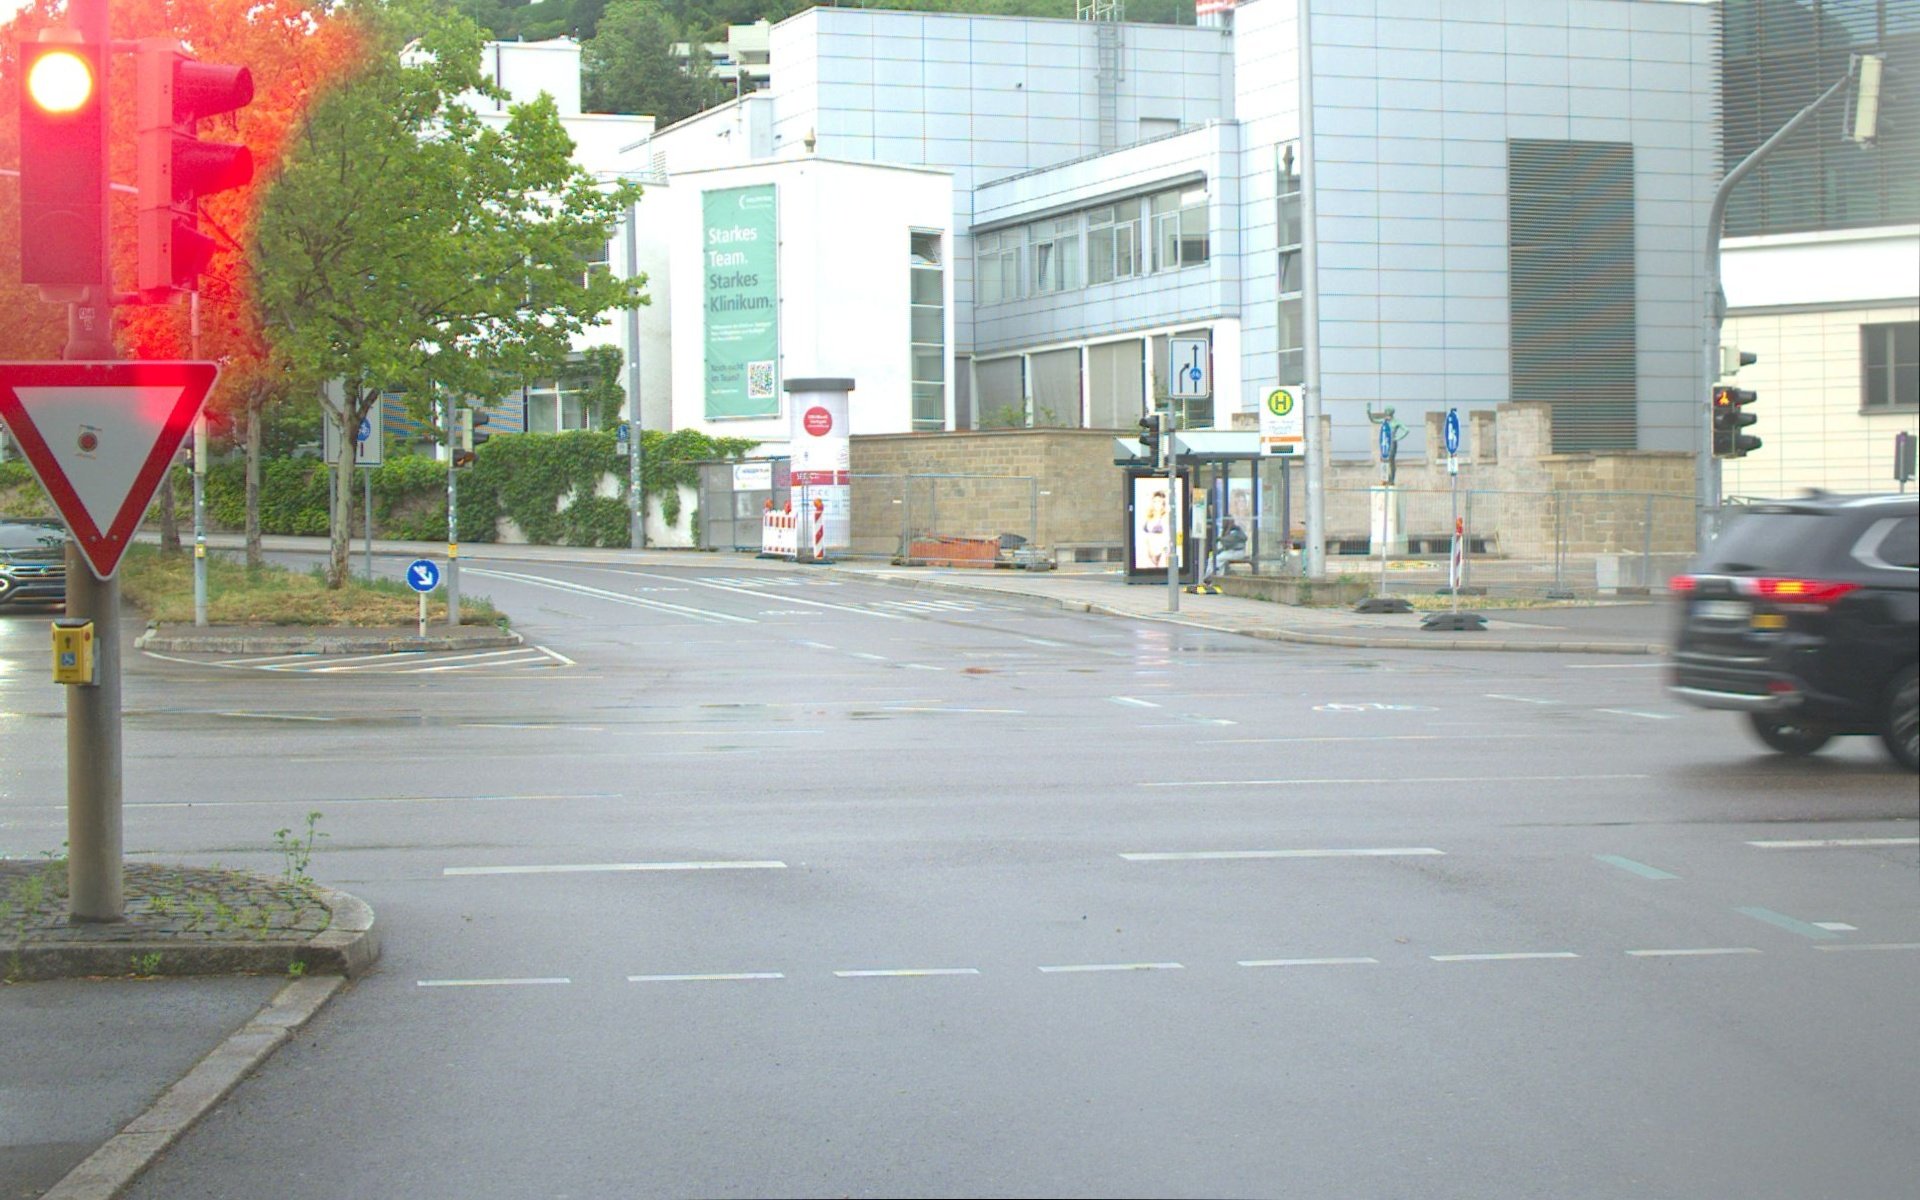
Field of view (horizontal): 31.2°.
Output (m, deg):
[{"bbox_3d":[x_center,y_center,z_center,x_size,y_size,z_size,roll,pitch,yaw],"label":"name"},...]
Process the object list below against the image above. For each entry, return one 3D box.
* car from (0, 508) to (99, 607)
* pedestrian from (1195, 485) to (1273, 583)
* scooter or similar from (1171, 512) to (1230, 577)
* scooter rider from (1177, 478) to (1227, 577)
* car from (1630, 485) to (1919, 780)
[{"bbox_3d":[-15.661,-0.736,57.718,1.788,1.579,4.001,-1,2,-22],"label":"car"},{"bbox_3d":[4.905,-1.175,61.645,1.257,1.713,1.016,1,0,-2],"label":"pedestrian"},{"bbox_3d":[4.643,-1.074,66.458,0.591,1.234,1.314,1,0,-22],"label":"scooter or similar"},{"bbox_3d":[4.677,-1.393,66.374,0.723,1.877,0.632,1,0,-20],"label":"scooter rider"},{"bbox_3d":[6.692,0.141,21.323,4.671,1.700,1.798,0,2,-17],"label":"car"}]
